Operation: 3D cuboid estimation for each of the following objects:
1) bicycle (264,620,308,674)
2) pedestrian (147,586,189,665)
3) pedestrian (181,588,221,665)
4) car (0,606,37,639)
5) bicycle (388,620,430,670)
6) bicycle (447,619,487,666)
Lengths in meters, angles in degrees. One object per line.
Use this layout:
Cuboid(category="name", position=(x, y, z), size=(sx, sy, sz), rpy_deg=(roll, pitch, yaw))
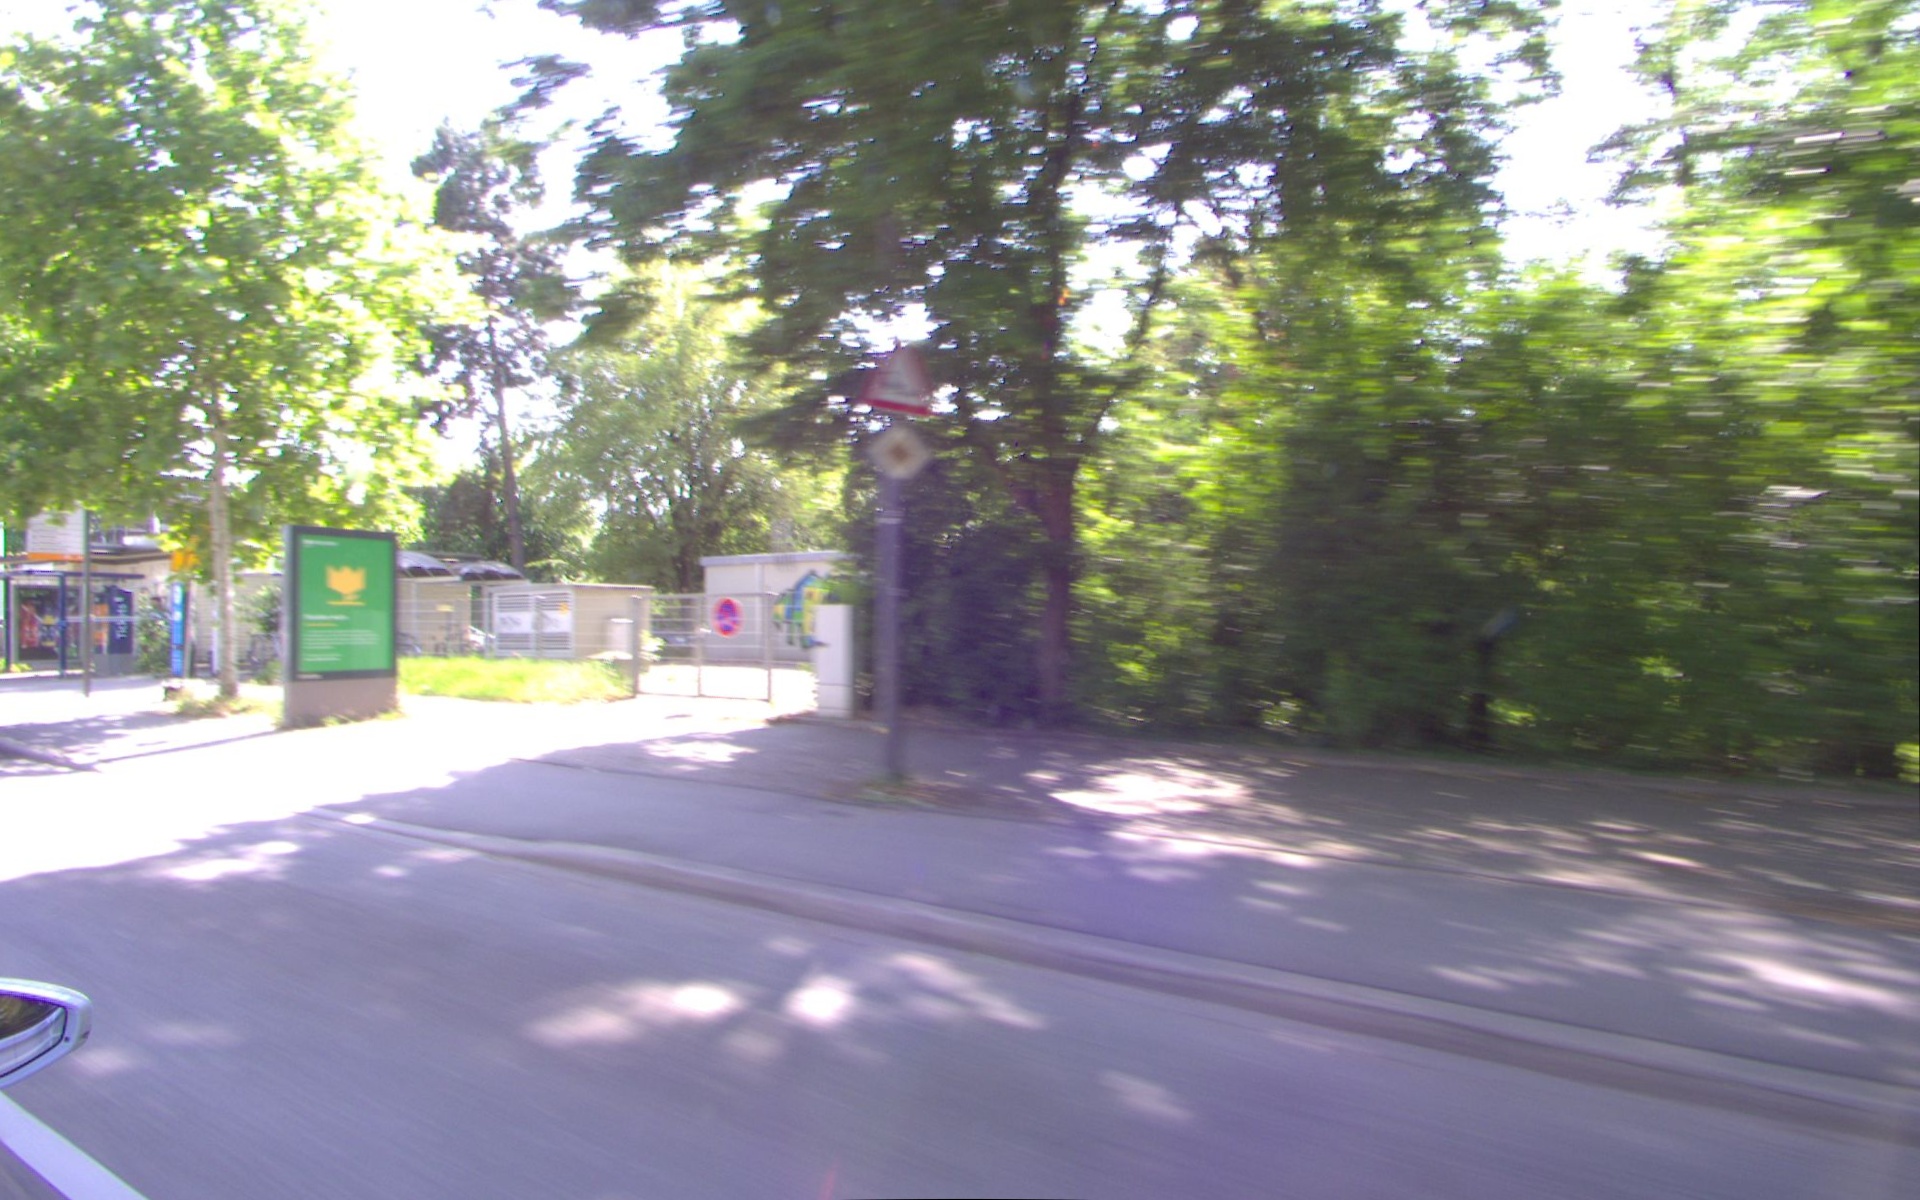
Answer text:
Cuboid(category="bicycle", position=(-15.341, 1.050, 22.774), size=(1.156, 1.196, 0.388), rpy_deg=(0, -1, 33))
Cuboid(category="pedestrian", position=(-19.591, 0.620, 24.774), size=(0.683, 1.921, 0.612), rpy_deg=(0, 0, 29))
Cuboid(category="pedestrian", position=(-19.253, 0.674, 25.401), size=(0.588, 1.921, 0.612), rpy_deg=(0, 0, 29))
Cuboid(category="car", position=(-50.486, 1.169, 51.734), size=(1.767, 1.694, 3.770), rpy_deg=(0, -1, 33))
Cuboid(category="bicycle", position=(-13.475, 1.081, 24.473), size=(1.156, 1.196, 0.388), rpy_deg=(0, -1, 33))
Cuboid(category="bicycle", position=(-12.881, 1.108, 26.172), size=(1.156, 1.196, 0.388), rpy_deg=(0, -1, 33))
